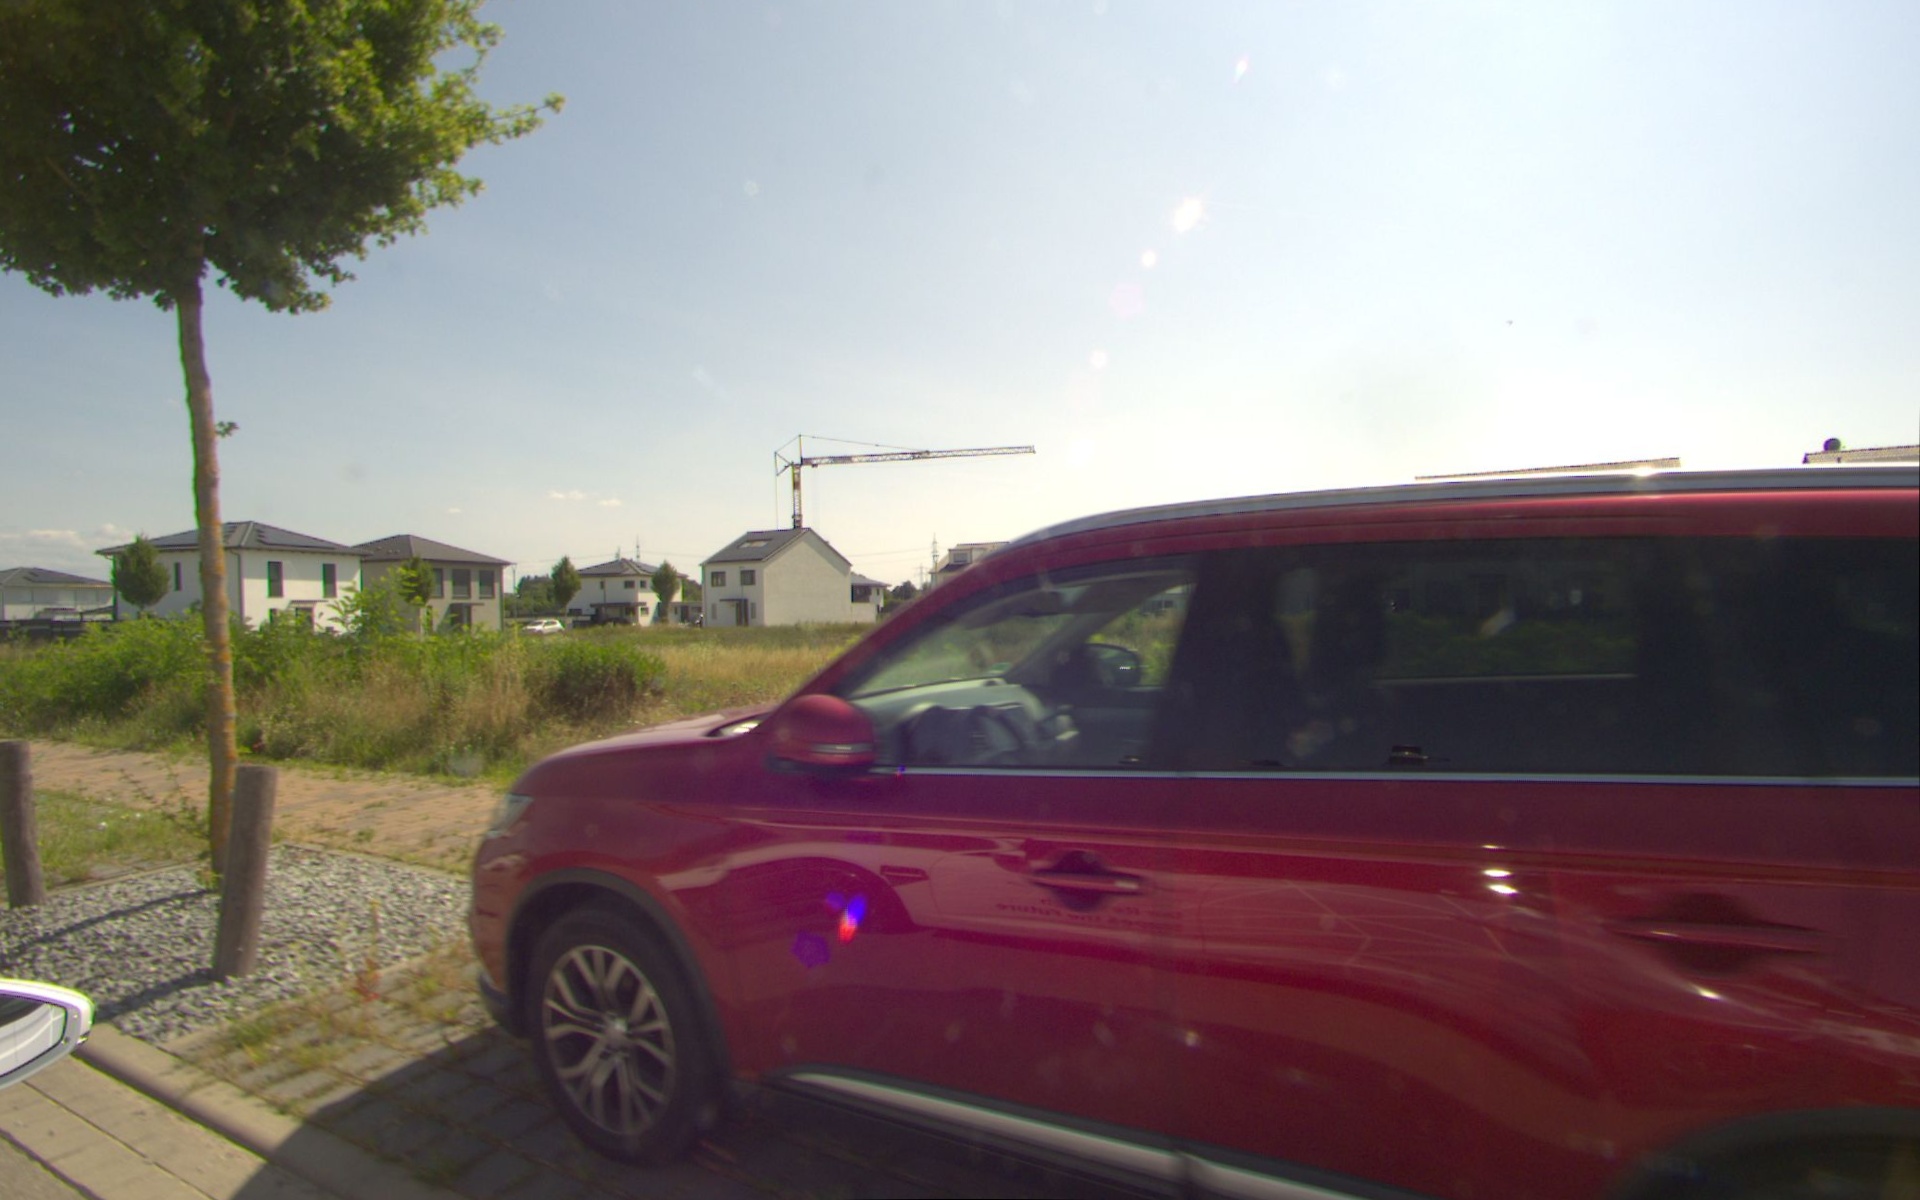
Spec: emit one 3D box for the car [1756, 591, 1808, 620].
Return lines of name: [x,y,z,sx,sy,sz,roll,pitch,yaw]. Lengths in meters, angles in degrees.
car: [44.505,0.307,54.274,1.791,1.532,3.976,-1,-1,34]

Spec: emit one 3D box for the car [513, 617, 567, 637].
car: [-32.381,2.069,77.299,1.719,1.416,3.994,-2,-1,17]

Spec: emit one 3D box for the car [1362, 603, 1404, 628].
car: [27.663,1.000,65.418,1.791,1.594,3.976,-1,-1,34]

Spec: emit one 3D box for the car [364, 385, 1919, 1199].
car: [0.511,0.568,2.734,4.368,1.686,1.773,-1,1,31]
